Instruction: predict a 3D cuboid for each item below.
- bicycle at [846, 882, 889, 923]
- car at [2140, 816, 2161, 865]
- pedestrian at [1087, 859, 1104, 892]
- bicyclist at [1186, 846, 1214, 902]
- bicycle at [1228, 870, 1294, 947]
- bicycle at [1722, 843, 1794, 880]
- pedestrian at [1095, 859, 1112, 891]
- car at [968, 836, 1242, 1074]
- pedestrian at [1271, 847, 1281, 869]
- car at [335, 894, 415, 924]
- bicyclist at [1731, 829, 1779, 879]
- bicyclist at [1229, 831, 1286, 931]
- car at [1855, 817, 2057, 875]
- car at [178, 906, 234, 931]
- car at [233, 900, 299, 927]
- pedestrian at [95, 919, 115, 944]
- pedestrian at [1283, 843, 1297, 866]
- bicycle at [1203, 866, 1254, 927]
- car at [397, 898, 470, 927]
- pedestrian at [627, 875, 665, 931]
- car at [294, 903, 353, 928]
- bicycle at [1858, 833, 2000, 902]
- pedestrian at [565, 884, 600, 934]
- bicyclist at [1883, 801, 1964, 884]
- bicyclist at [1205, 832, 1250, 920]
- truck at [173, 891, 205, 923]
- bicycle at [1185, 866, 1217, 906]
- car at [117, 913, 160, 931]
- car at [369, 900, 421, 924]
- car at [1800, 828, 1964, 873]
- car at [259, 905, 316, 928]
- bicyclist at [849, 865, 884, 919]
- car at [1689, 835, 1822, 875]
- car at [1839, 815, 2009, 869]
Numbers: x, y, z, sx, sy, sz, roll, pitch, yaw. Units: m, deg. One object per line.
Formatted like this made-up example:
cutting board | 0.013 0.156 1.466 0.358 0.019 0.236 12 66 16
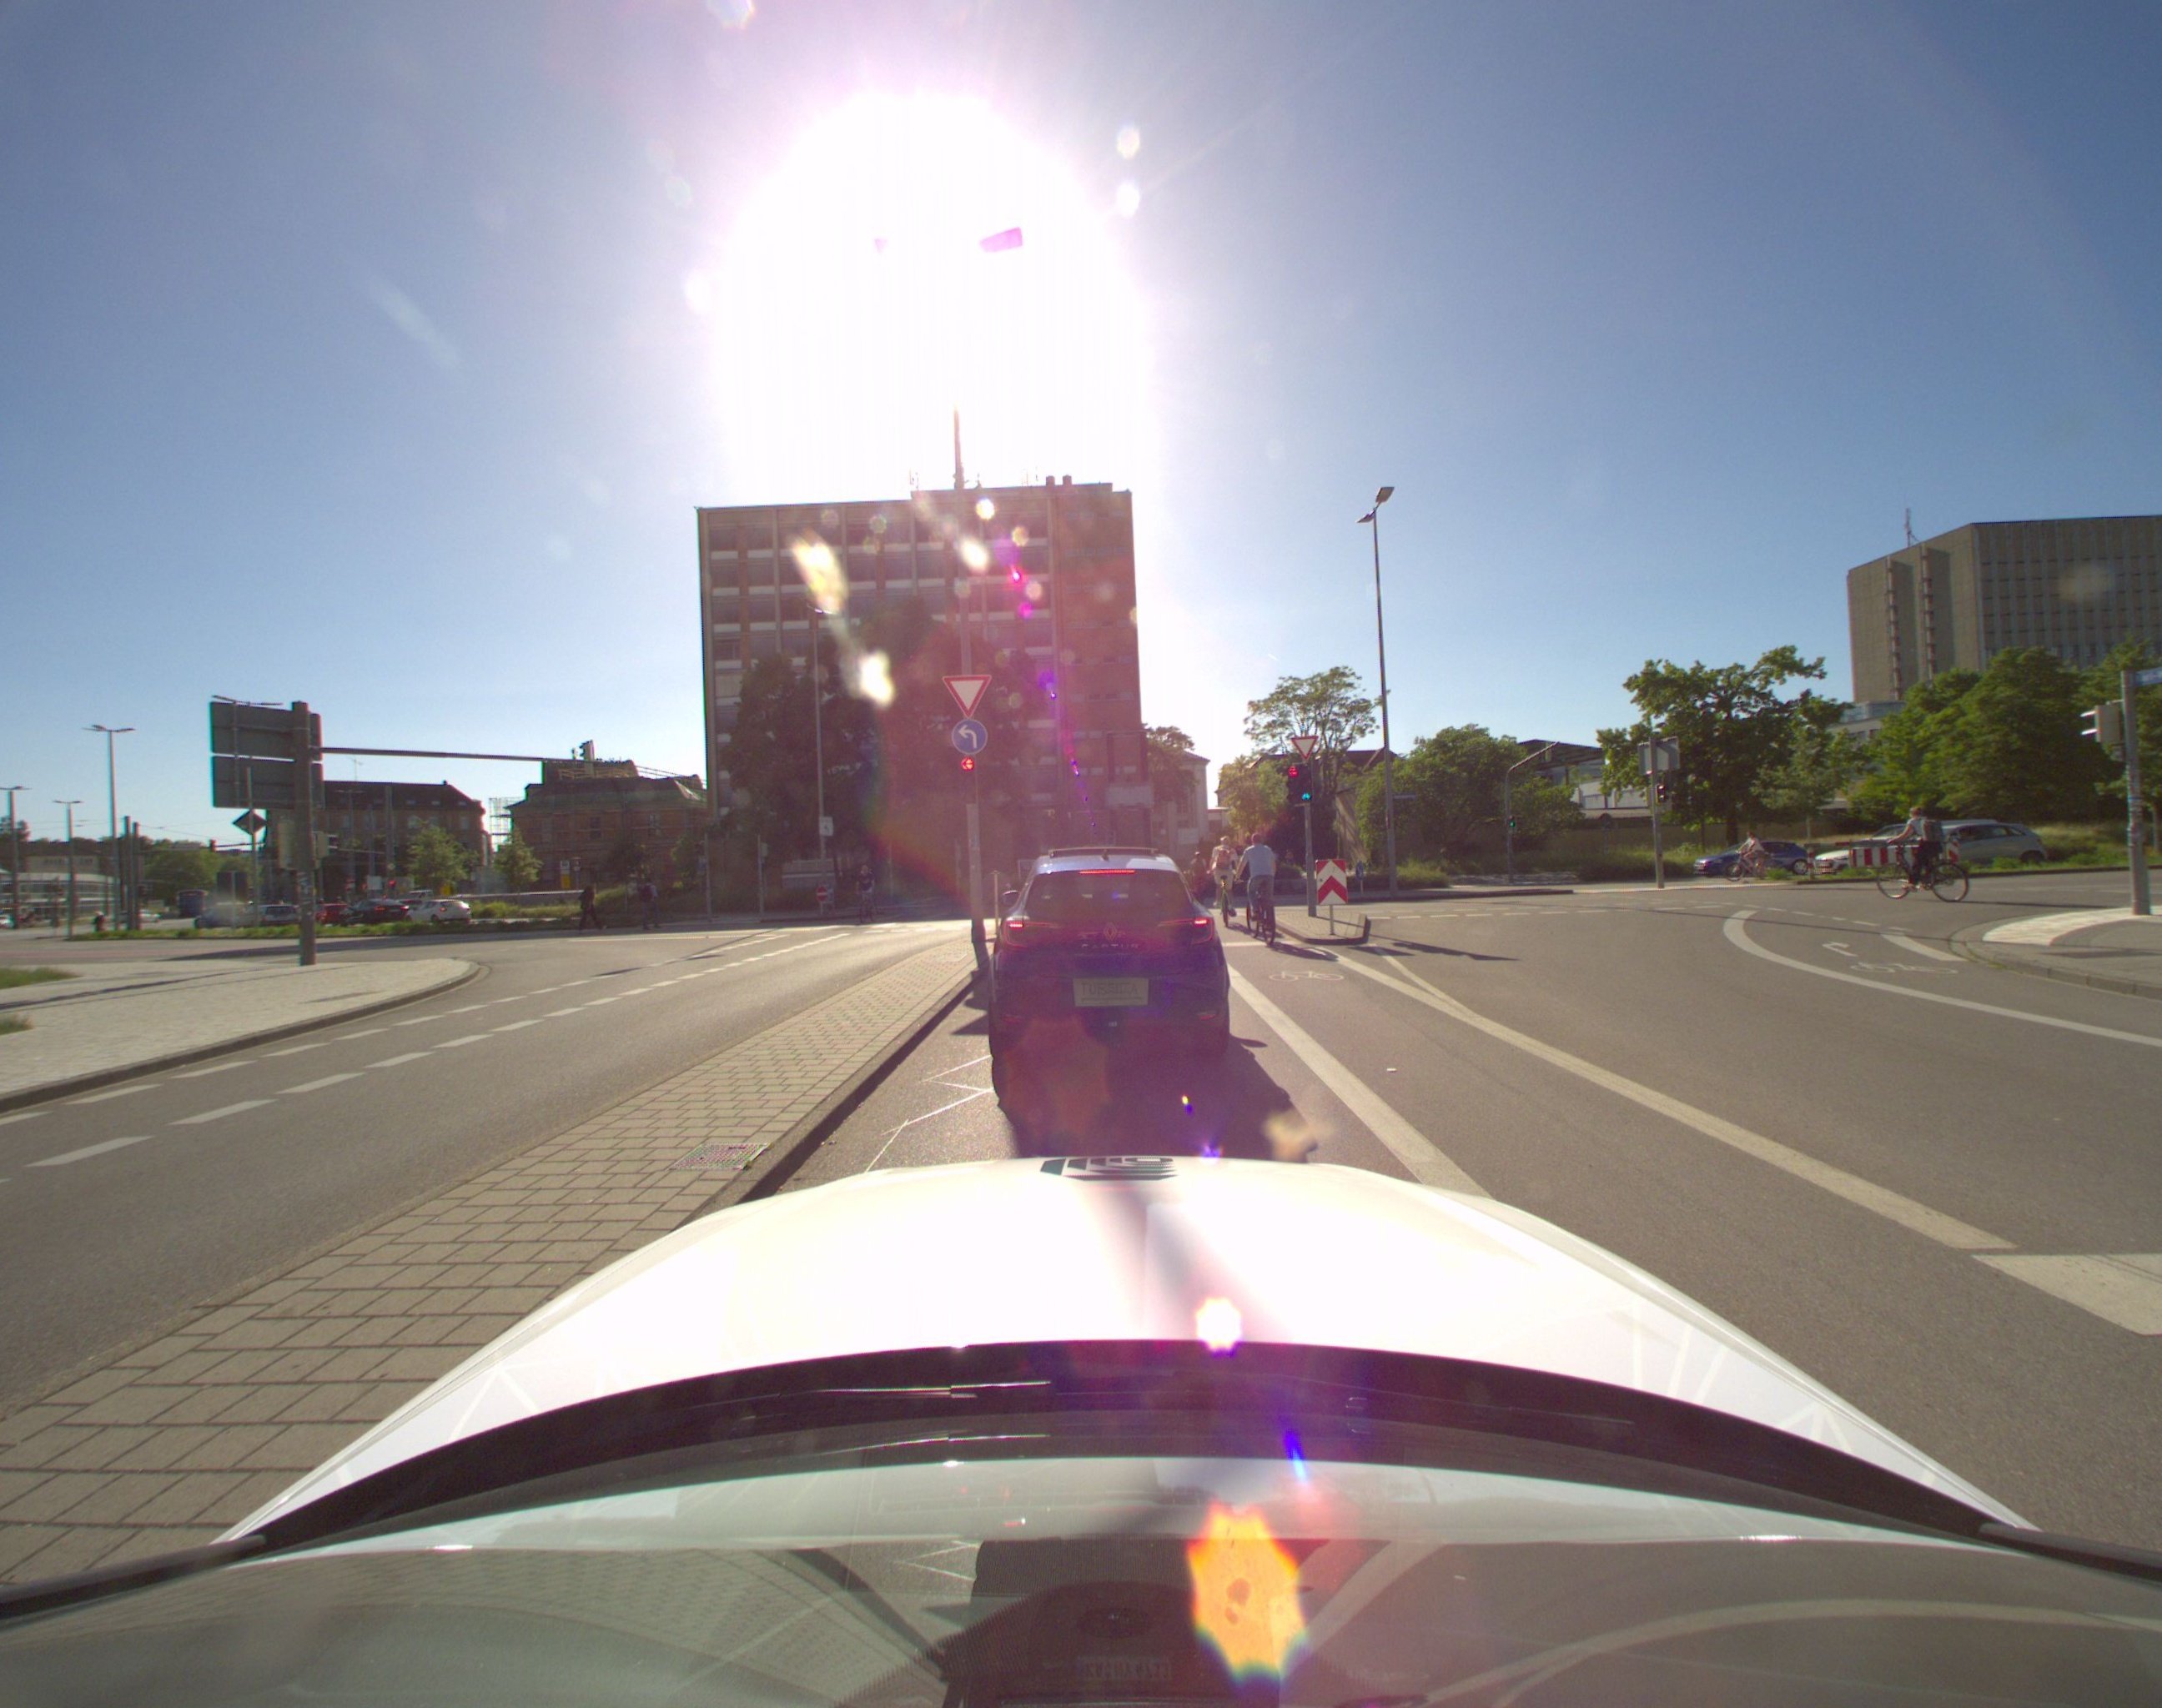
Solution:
bicycle | -6.802 1.522 25.996 0.743 1.165 1.871 -4 -1 2
car | 36.874 -0.555 25.407 4.685 1.554 1.986 -2 -2 5
pedestrian | 0.787 1.161 44.252 0.727 1.816 0.735 -1 -1 19
bicyclist | 3.796 0.629 25.990 0.717 1.735 0.978 -2 -1 1
bicycle | 3.028 0.881 13.880 0.713 1.165 1.871 -2 0 2
bicycle | 24.124 0.262 29.034 1.856 1.165 0.749 -4 -1 3
pedestrian | 1.237 1.172 45.209 0.727 1.782 0.735 -1 -1 19
car | 0.222 0.702 7.463 1.870 1.617 3.799 0 0 2
pedestrian | 14.951 0.287 62.401 0.670 1.643 0.739 -1 -1 17
car | -42.618 3.322 49.150 4.324 1.624 2.002 -3 -1 24
bicyclist | 24.012 0.004 29.041 0.970 1.685 0.747 -4 -1 3
bicyclist | 3.012 0.450 13.980 0.717 1.617 0.978 -2 -1 1
car | 28.021 -0.211 26.197 4.281 1.625 1.792 -2 -2 5
car | -55.192 4.061 51.376 3.859 1.443 1.741 -3 -3 33
car | -48.871 3.558 48.826 3.750 1.442 1.741 -3 -1 28
pedestrian | -62.764 4.980 52.374 0.565 1.611 0.573 0 -1 1
pedestrian | 15.026 0.039 58.456 0.739 1.643 0.670 0 -1 -37
bicycle | 3.072 0.862 17.116 0.743 1.165 1.871 -2 0 2
car | -36.478 3.307 45.874 3.690 1.436 1.706 -3 -1 24
pedestrian | -14.911 1.673 27.924 0.753 1.833 1.093 -2 -2 -6
car | -48.030 3.891 51.647 3.674 1.443 1.687 -3 -3 29
bicycle | 15.565 0.212 15.028 0.639 1.165 1.870 -3 1 0
pedestrian | -16.620 1.833 27.161 0.710 1.612 0.686 -3 -2 29
bicyclist | 15.535 -0.212 15.029 0.639 1.444 0.776 -3 1 -1
bicyclist | 3.053 0.452 17.090 0.717 1.763 0.978 -2 -1 1
truck | -110.633 6.541 101.003 5.159 3.675 2.618 -1 -1 42
bicycle | 3.809 0.993 25.948 0.743 1.165 1.871 -2 0 2
car | -94.068 6.757 81.327 1.792 1.544 3.604 0 -1 -31
car | -50.403 4.281 59.823 3.578 1.618 1.894 -4 -3 31
car | 30.340 -0.106 30.973 3.962 1.469 2.005 -3 -1 10
car | -53.607 4.222 55.006 3.750 1.443 1.741 -3 -3 29
bicyclist | -6.824 1.201 25.937 0.717 1.621 0.978 -4 -1 1
car | 28.163 0.074 34.102 3.967 1.442 1.707 -2 -2 5
car | 34.823 -0.454 33.756 4.718 1.953 1.942 -2 -2 5
